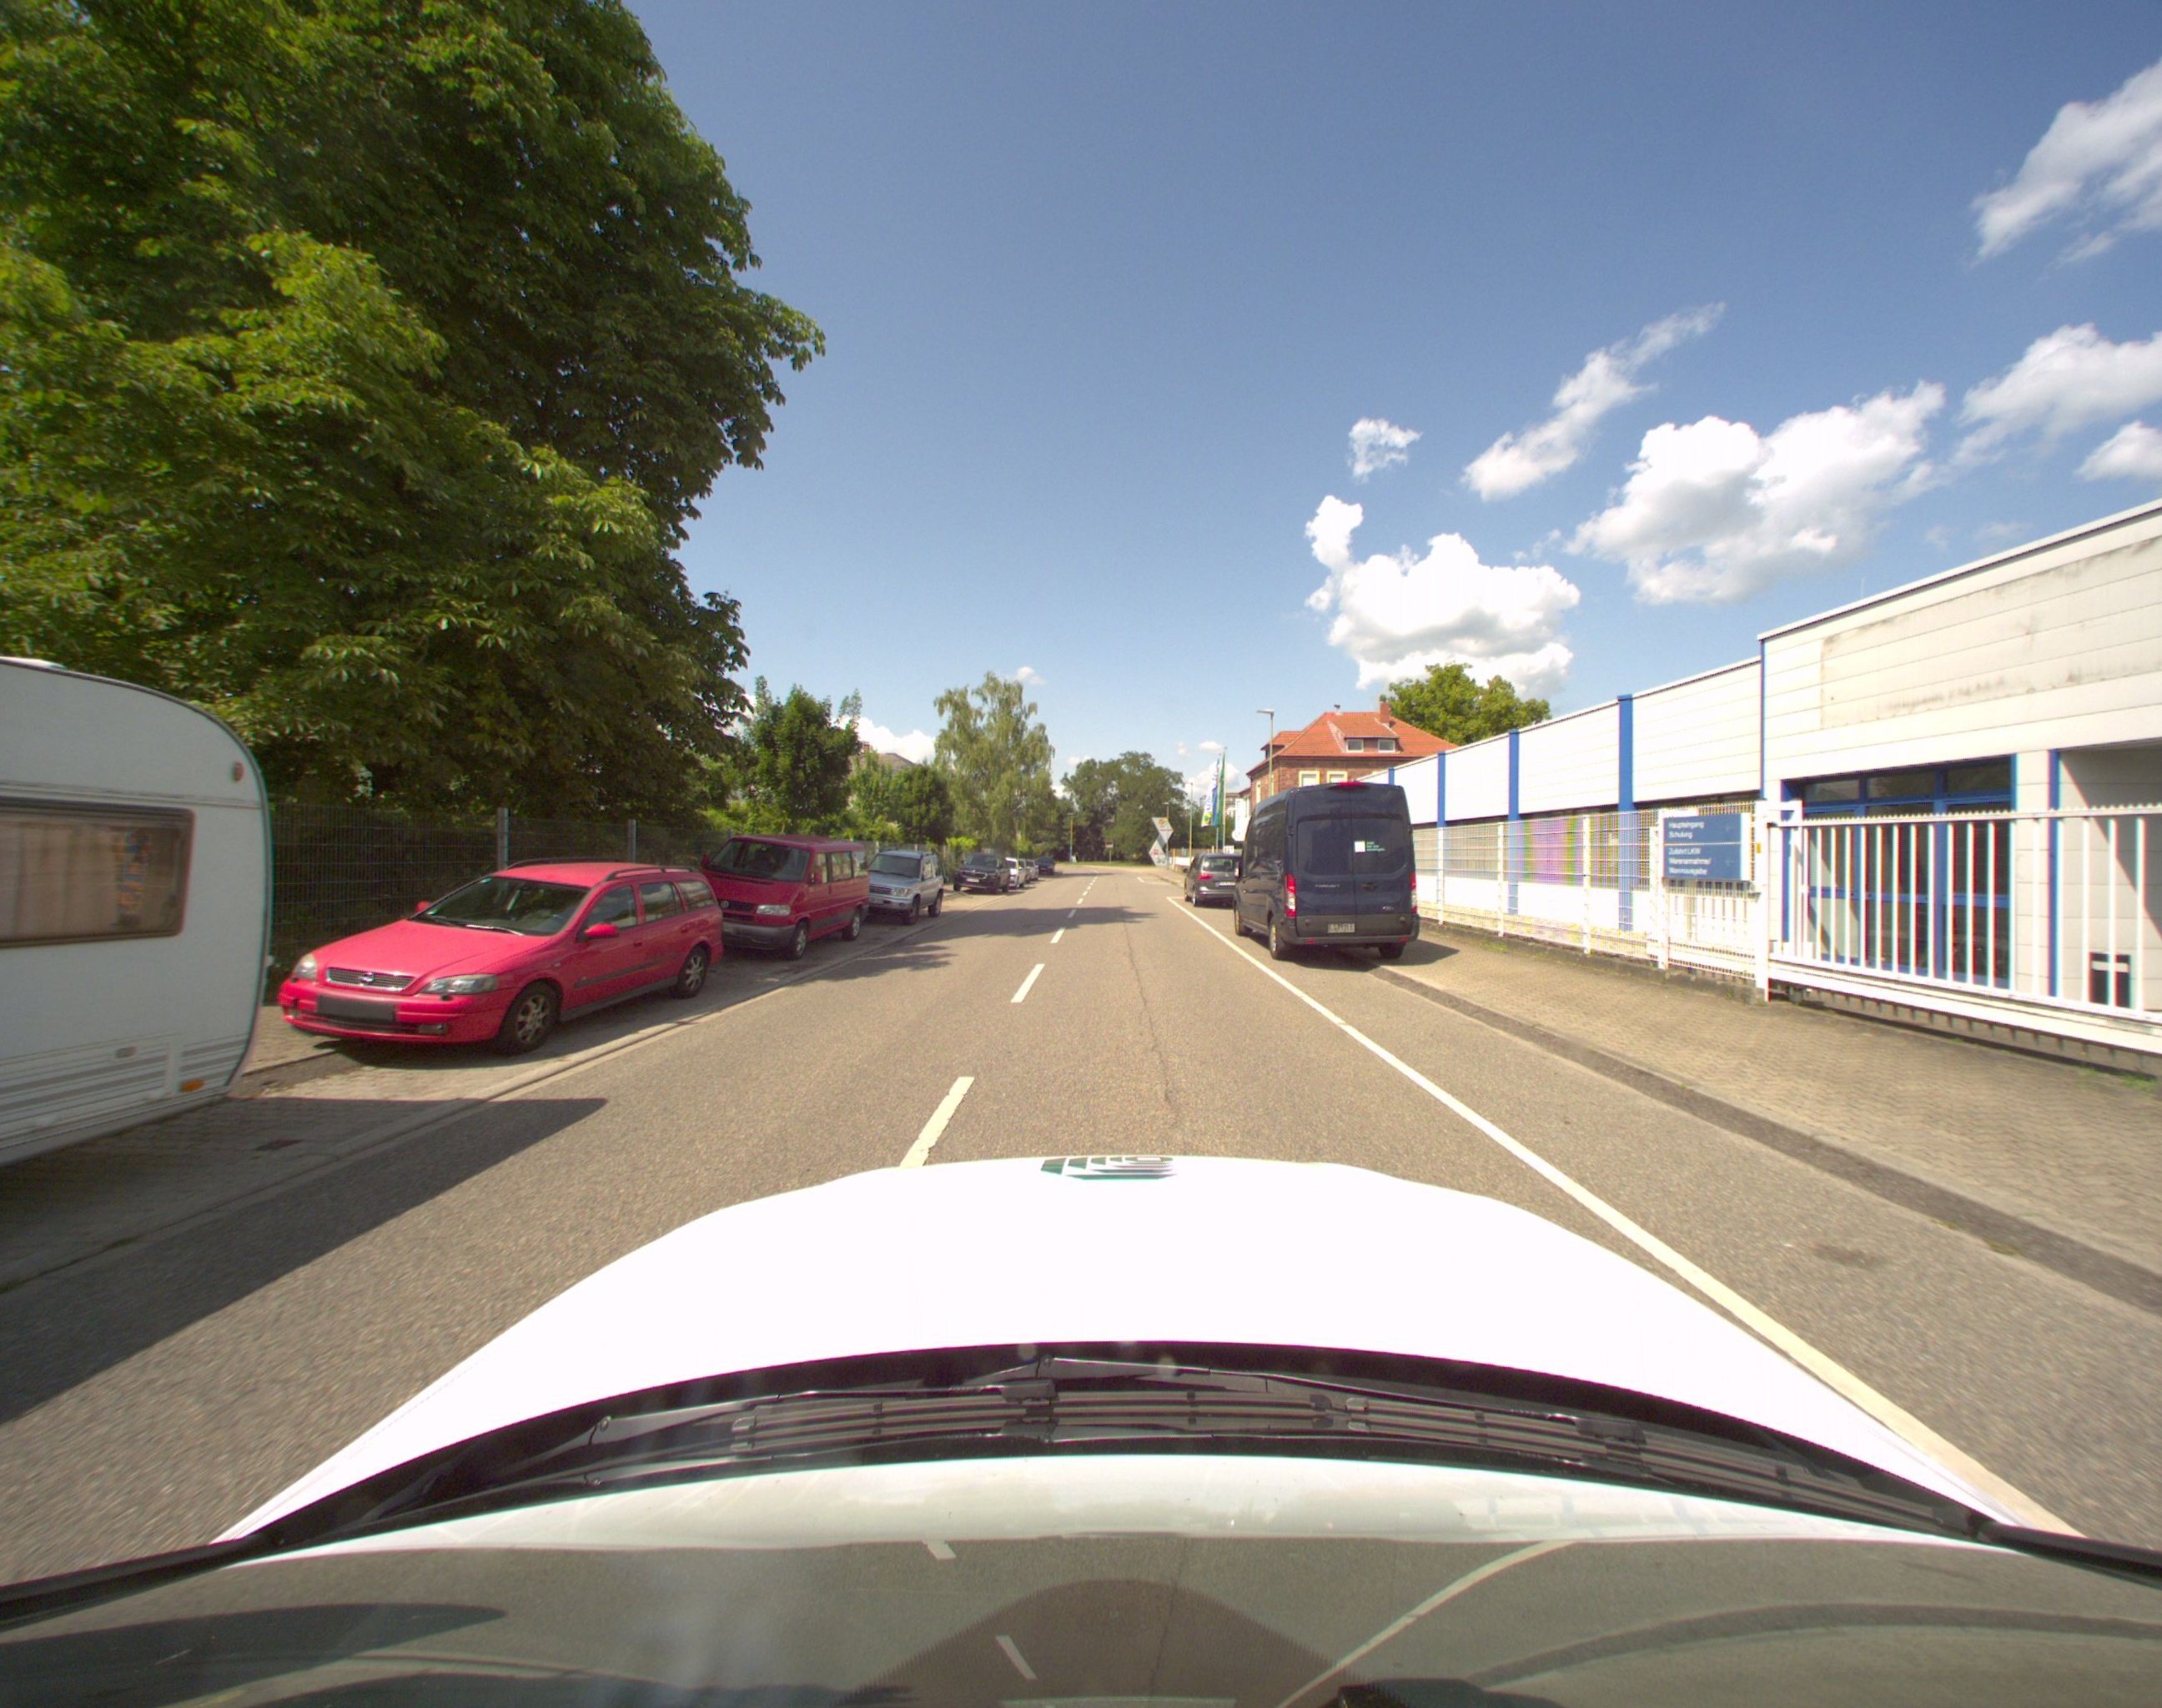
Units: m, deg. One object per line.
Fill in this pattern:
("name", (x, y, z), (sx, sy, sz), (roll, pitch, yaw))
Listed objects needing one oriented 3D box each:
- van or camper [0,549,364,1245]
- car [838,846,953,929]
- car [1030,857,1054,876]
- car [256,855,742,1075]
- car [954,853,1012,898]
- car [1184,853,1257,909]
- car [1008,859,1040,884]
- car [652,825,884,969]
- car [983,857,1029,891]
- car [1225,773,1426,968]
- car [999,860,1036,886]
("van or camper", (-5.479, 0.128, 1.372), (2.255, 2.803, 6.833), (4, 0, 0))
("car", (-4.594, 0.760, 20.716), (1.692, 1.802, 3.831), (4, 0, 4))
("car", (-3.331, 1.061, 70.099), (1.676, 1.512, 4.158), (4, 0, 1))
("car", (-5.232, 0.831, 8.209), (1.619, 1.532, 4.270), (4, 0, 2))
("car", (-4.128, 0.848, 35.017), (1.604, 1.745, 4.640), (2, 0, 3))
("car", (4.489, 0.805, 26.817), (1.818, 1.664, 4.559), (-1, 0, 2))
("car", (-3.861, 1.189, 55.968), (1.718, 1.477, 4.632), (4, 0, 1))
("car", (-5.218, 0.647, 14.500), (1.891, 1.954, 4.960), (5, 0, 2))
("car", (-3.754, 0.979, 41.454), (1.693, 1.595, 4.791), (0, 0, 3))
("car", (4.008, 0.243, 14.637), (1.930, 2.748, 6.157), (-1, 0, 2))
("car", (-3.907, 1.151, 50.634), (1.787, 1.527, 4.661), (0, 0, 2))
